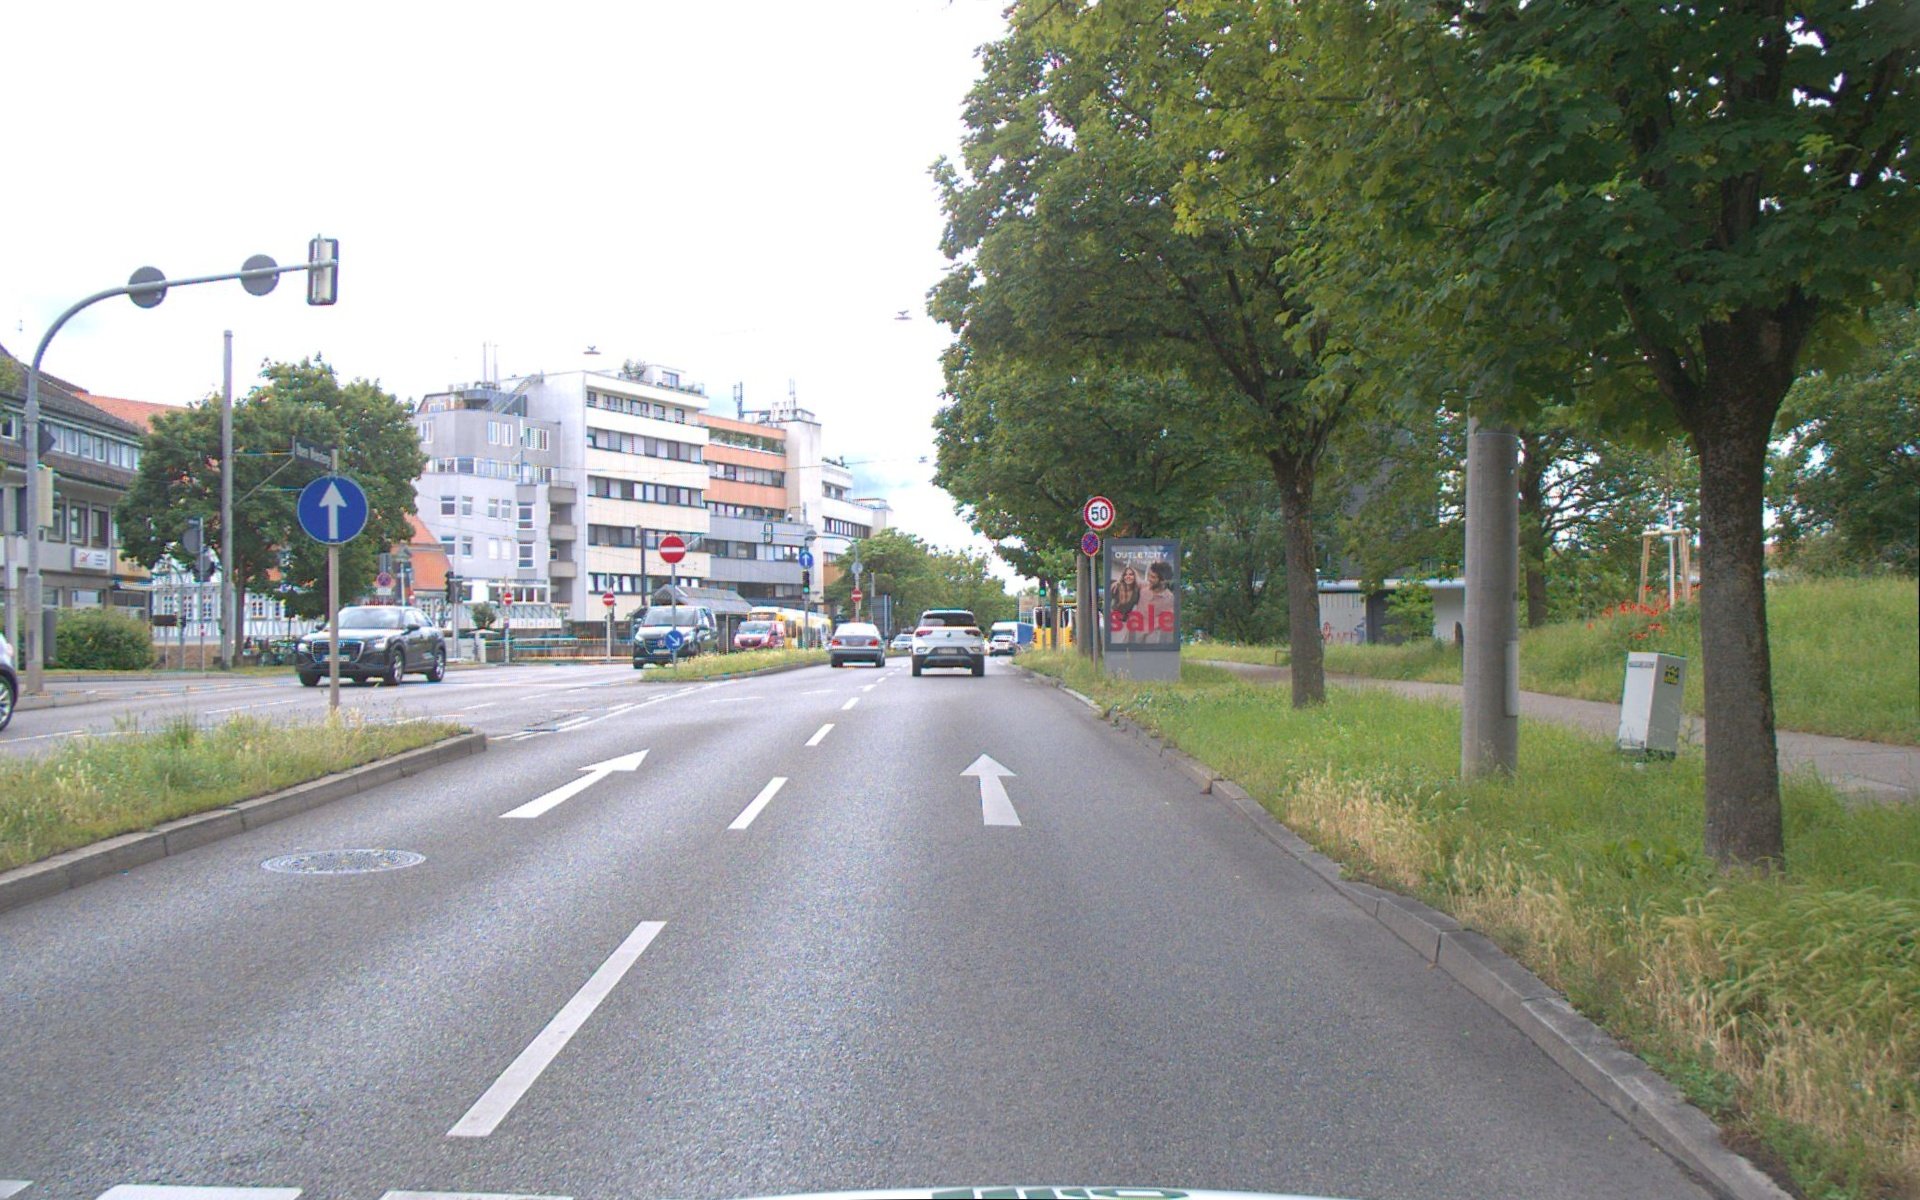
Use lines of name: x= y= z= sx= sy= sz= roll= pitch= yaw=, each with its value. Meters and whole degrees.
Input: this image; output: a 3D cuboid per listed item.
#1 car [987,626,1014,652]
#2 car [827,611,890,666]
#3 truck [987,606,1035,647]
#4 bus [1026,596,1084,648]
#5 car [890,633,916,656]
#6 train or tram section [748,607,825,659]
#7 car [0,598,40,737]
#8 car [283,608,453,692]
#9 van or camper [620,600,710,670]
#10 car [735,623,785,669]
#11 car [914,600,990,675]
car: x=2.731 y=2.656 z=113.320 sx=1.734 sy=1.598 sz=4.285 roll=-1 pitch=1 yaw=0
car: x=-3.222 y=1.211 z=53.080 sx=1.664 sy=1.542 sz=3.738 roll=0 pitch=2 yaw=2
truck: x=5.608 y=2.907 z=176.923 sx=2.891 sy=4.151 sz=16.614 roll=0 pitch=-1 yaw=10
bus: x=6.330 y=1.508 z=108.692 sx=2.891 sy=3.246 sz=9.935 roll=0 pitch=-1 yaw=8
car: x=-3.792 y=3.020 z=111.240 sx=1.581 sy=1.471 sz=3.652 roll=-1 pitch=-2 yaw=0
train or tram section: x=-12.290 y=2.393 z=118.551 sx=2.505 sy=3.471 sz=13.090 roll=-1 pitch=-2 yaw=7
car: x=-11.119 y=0.746 z=16.552 sx=1.709 sy=1.489 sz=3.997 roll=-2 pitch=0 yaw=-3
car: x=-11.258 y=0.909 z=31.739 sx=1.823 sy=1.453 sz=4.000 roll=-1 pitch=0 yaw=0
van or camper: x=-8.802 y=1.035 z=49.774 sx=1.888 sy=1.972 sz=5.246 roll=1 pitch=-1 yaw=-2
car: x=-10.157 y=2.330 z=84.438 sx=1.953 sy=2.048 sz=4.835 roll=1 pitch=1 yaw=0
car: x=-0.148 y=0.875 z=40.586 sx=1.664 sy=1.575 sz=3.737 roll=2 pitch=2 yaw=2
